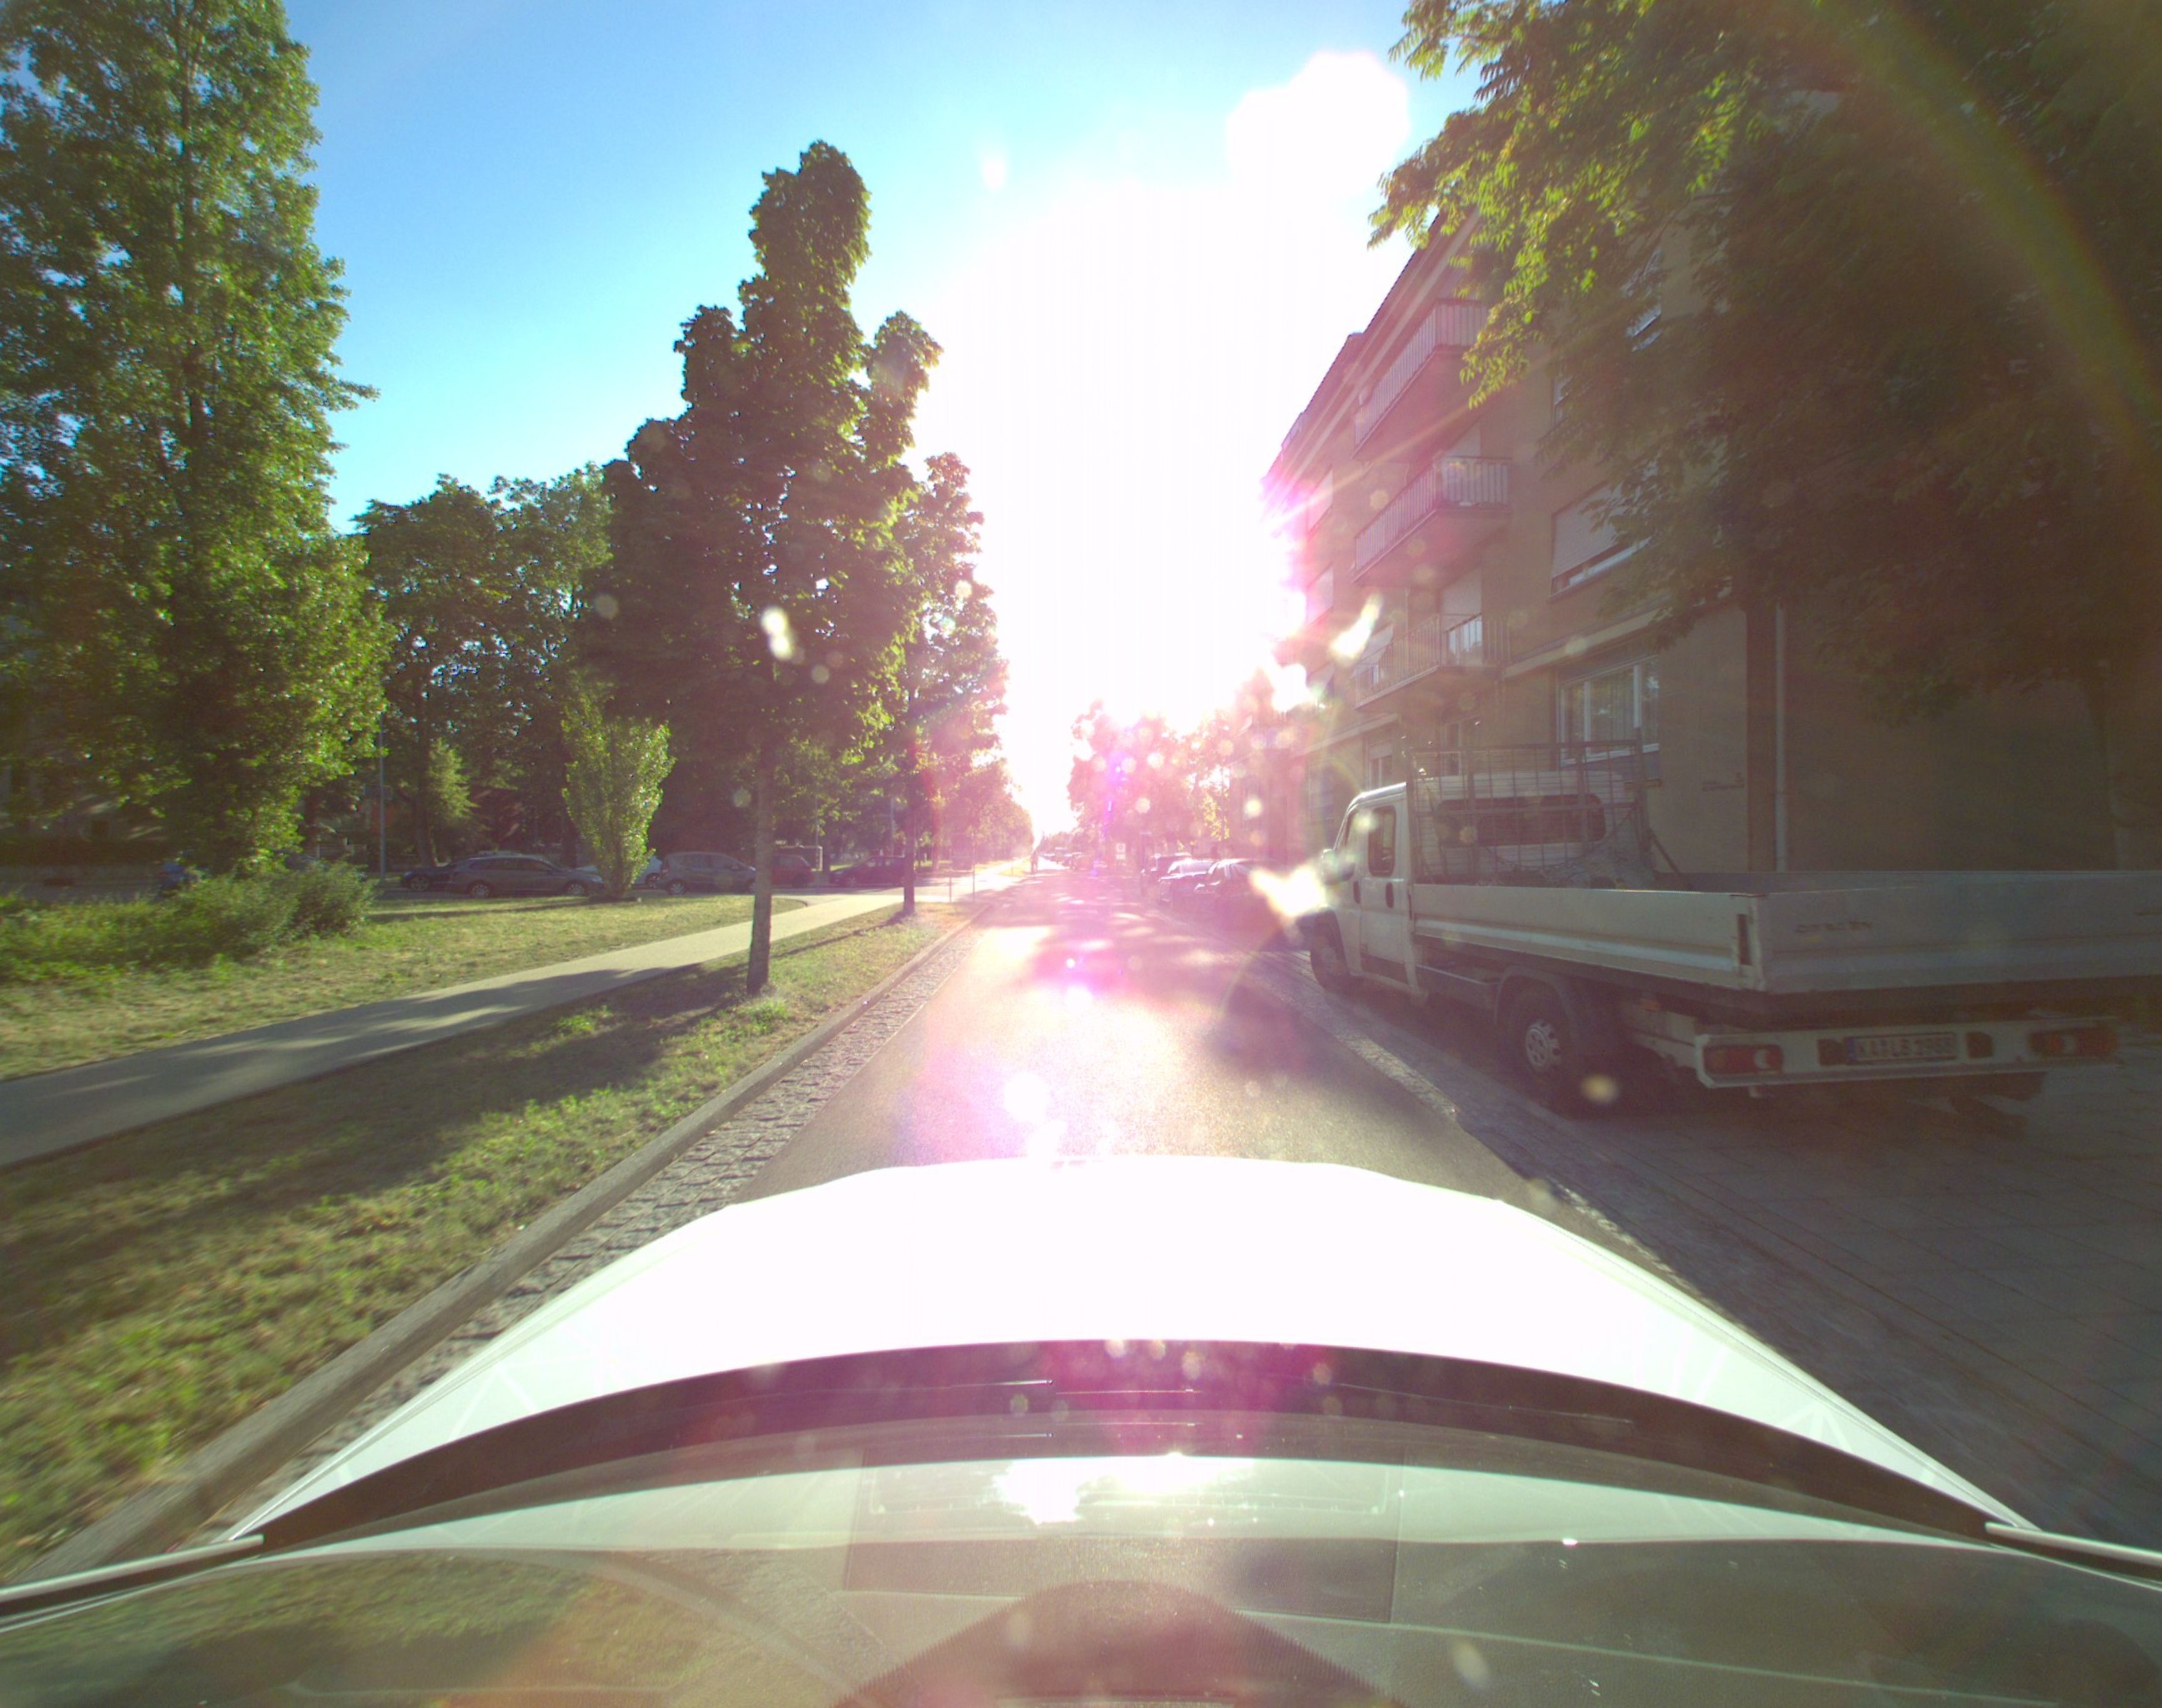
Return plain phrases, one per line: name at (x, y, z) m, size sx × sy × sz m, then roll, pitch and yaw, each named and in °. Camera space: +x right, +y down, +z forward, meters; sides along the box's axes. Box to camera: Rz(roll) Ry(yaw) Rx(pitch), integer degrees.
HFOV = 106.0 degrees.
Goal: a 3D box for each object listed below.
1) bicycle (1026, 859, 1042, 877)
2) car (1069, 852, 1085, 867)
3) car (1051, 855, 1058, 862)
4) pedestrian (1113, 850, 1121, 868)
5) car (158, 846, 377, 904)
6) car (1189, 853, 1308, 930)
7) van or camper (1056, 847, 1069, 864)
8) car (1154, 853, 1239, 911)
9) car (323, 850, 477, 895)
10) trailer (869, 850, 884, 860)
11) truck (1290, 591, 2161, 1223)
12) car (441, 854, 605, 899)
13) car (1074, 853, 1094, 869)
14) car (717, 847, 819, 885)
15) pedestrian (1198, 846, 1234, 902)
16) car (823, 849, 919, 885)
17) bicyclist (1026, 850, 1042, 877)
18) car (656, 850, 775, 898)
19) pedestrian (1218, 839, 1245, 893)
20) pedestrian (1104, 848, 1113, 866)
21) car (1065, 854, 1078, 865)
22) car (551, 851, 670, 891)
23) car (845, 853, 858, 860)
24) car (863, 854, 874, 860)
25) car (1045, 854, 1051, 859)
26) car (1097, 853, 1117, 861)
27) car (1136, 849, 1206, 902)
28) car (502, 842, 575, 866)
bicycle at (-3.050, 0.894, 53.002) m, size 0.735 × 1.135 × 2.106 m, roll 0°, pitch 0°, yaw 3°
car at (-0.479, 0.687, 96.017) m, size 1.675 × 1.740 × 4.507 m, roll 0°, pitch -1°, yaw -4°
car at (-6.218, 1.073, 189.986) m, size 1.623 × 1.669 × 4.243 m, roll 0°, pitch -1°, yaw -4°
pedestrian at (3.490, 0.505, 79.082) m, size 0.723 × 1.736 × 0.731 m, roll 1°, pitch 0°, yaw -3°
car at (-24.396, 0.595, 24.657) m, size 4.281 × 1.643 × 1.826 m, roll 0°, pitch -1°, yaw -23°
car at (3.523, 0.738, 17.858) m, size 1.698 × 1.420 × 4.034 m, roll -2°, pitch 0°, yaw -1°
van or camper at (-3.428, 0.286, 148.691) m, size 2.230 × 2.904 × 5.664 m, roll 0°, pitch -1°, yaw -4°
car at (3.185, 0.742, 23.177) m, size 1.698 × 1.420 × 4.346 m, roll -2°, pitch 0°, yaw -1°
car at (-25.368, 0.705, 30.518) m, size 4.005 × 1.574 × 1.876 m, roll 1°, pitch -2°, yaw -24°
trailer at (-51.910, 0.376, 206.909) m, size 2.453 × 2.489 × 7.042 m, roll 0°, pitch -1°, yaw -3°
truck at (3.731, 0.229, 6.775) m, size 2.122 × 2.564 × 6.873 m, roll 0°, pitch -1°, yaw -1°
car at (-18.481, 0.723, 27.228) m, size 4.284 × 1.400 × 1.824 m, roll 0°, pitch -1°, yaw -26°
car at (0.263, 0.697, 82.068) m, size 1.675 × 1.486 × 4.803 m, roll 0°, pitch 0°, yaw -4°
car at (-13.806, 0.563, 35.923) m, size 4.010 × 1.574 × 1.873 m, roll 1°, pitch -2°, yaw -28°
pedestrian at (4.296, 0.627, 25.996) m, size 0.950 × 1.769 × 0.777 m, roll 1°, pitch 0°, yaw -5°
car at (-9.745, 0.620, 37.890) m, size 4.010 × 1.574 × 1.873 m, roll 1°, pitch -2°, yaw -28°
bicyclist at (-3.043, 0.618, 53.020) m, size 0.933 × 1.703 × 0.906 m, roll 0°, pitch 0°, yaw 3°
car at (-13.315, 0.687, 29.733) m, size 3.855 × 1.631 × 1.823 m, roll 0°, pitch -1°, yaw -28°
pedestrian at (5.204, 0.412, 28.110) m, size 0.735 × 1.830 × 0.550 m, roll 1°, pitch 0°, yaw -39°
pedestrian at (2.680, 0.253, 79.029) m, size 0.751 × 1.736 × 0.731 m, roll 1°, pitch 0°, yaw -3°
car at (-1.313, 0.772, 111.396) m, size 1.727 × 1.551 × 4.271 m, roll 0°, pitch -1°, yaw -2°
car at (-19.218, 0.720, 33.459) m, size 4.005 × 1.574 × 1.875 m, roll 1°, pitch -2°, yaw -24°
car at (-50.931, 0.623, 180.752) m, size 1.989 × 1.508 × 4.111 m, roll 0°, pitch -1°, yaw -3°
car at (-51.702, 0.710, 197.776) m, size 1.750 × 1.419 × 3.996 m, roll 0°, pitch -1°, yaw -3°
car at (-9.792, 0.656, 243.522) m, size 1.623 × 1.410 × 4.243 m, roll 0°, pitch 0°, yaw -4°
car at (5.387, 0.678, 171.362) m, size 4.181 × 1.530 × 2.000 m, roll 0°, pitch -1°, yaw 0°
car at (3.050, 0.681, 28.473) m, size 1.699 × 1.625 × 4.343 m, roll -2°, pitch 1°, yaw -3°
car at (-50.830, -0.003, 76.368) m, size 4.947 × 2.114 × 2.672 m, roll 1°, pitch 0°, yaw -7°
